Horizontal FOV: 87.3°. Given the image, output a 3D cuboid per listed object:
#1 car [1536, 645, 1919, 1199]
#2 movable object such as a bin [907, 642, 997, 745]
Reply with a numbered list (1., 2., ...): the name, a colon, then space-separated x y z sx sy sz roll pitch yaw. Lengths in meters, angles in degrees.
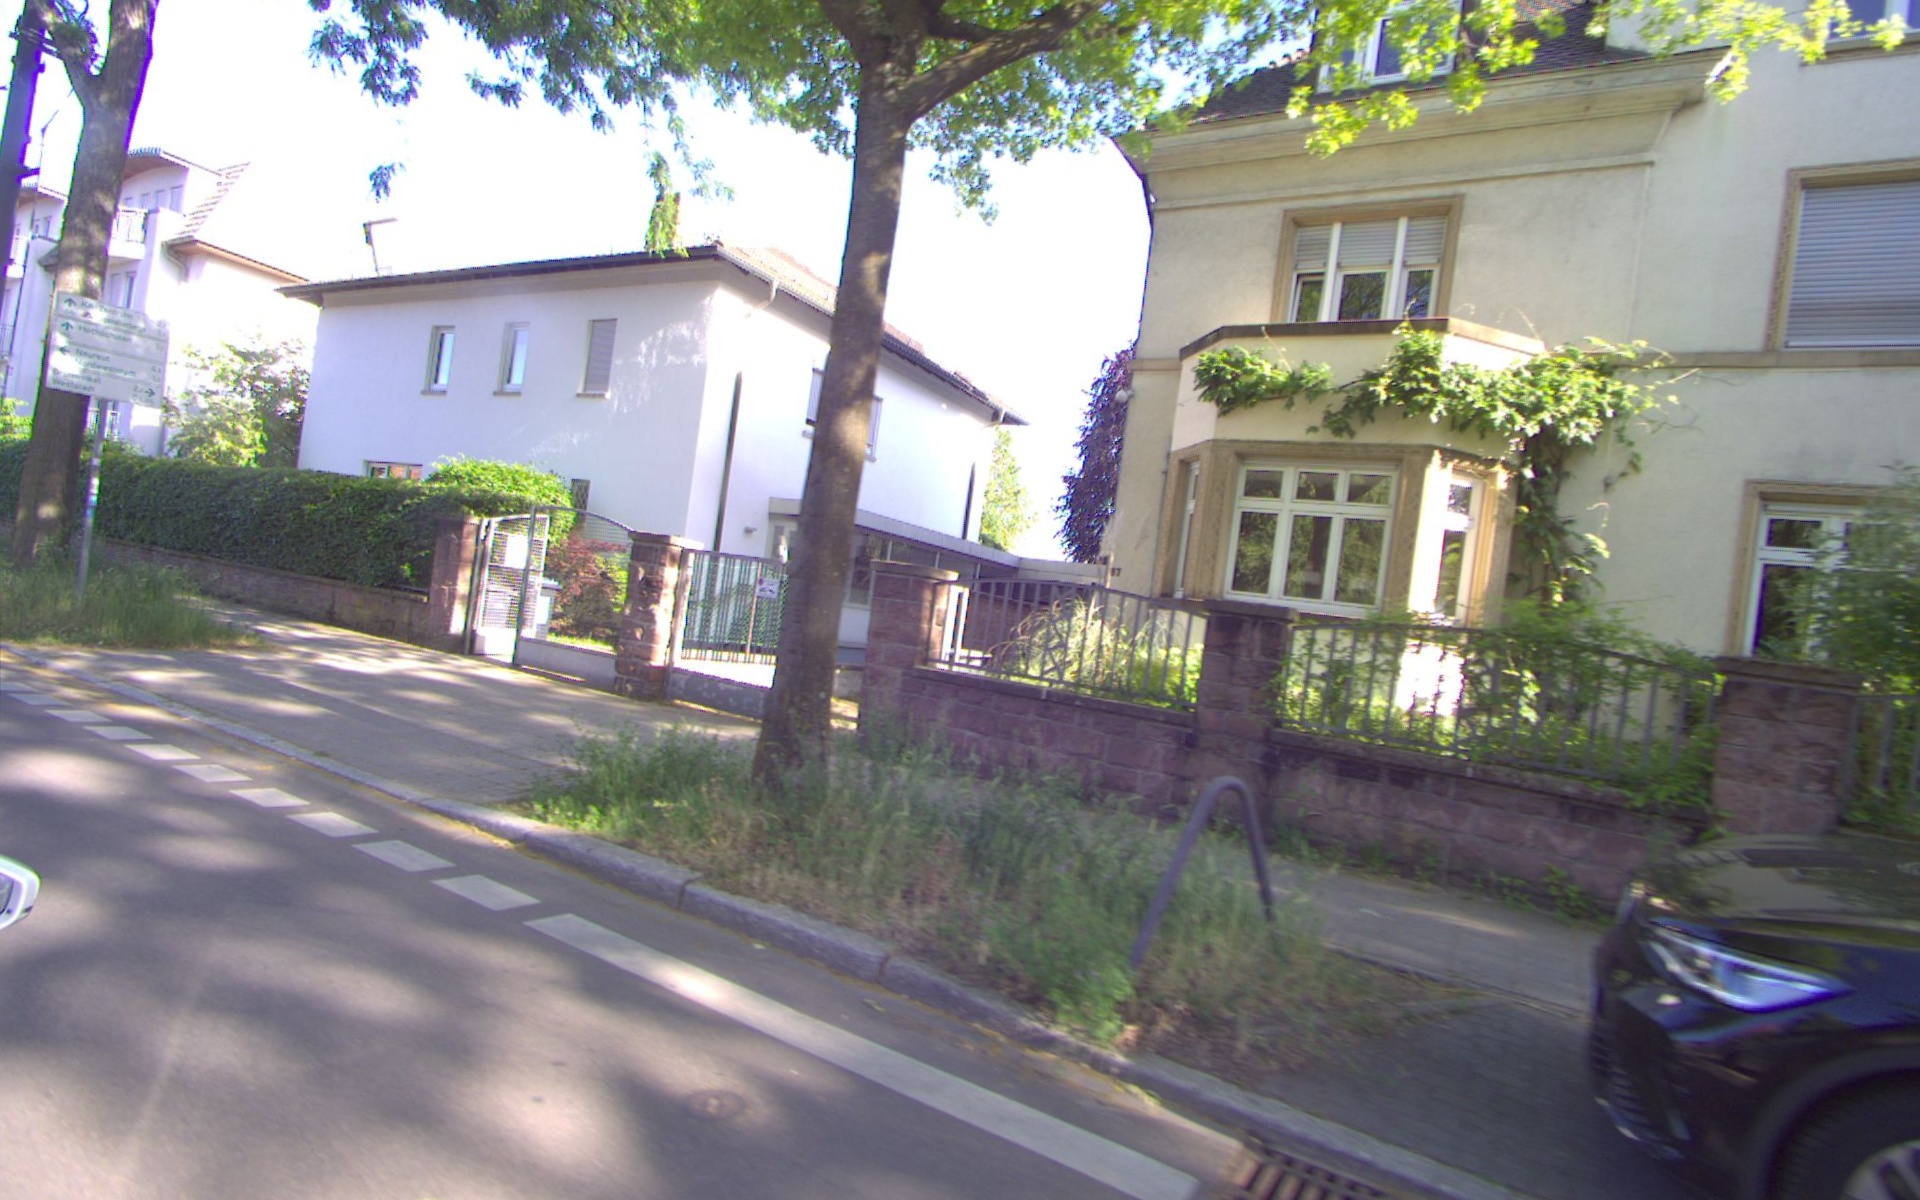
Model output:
1. car: 4.175 1.252 2.396 4.652 1.717 1.804 7 2 33
2. movable object such as a bin: -0.097 1.069 11.551 0.652 1.060 0.641 8 -1 -37
